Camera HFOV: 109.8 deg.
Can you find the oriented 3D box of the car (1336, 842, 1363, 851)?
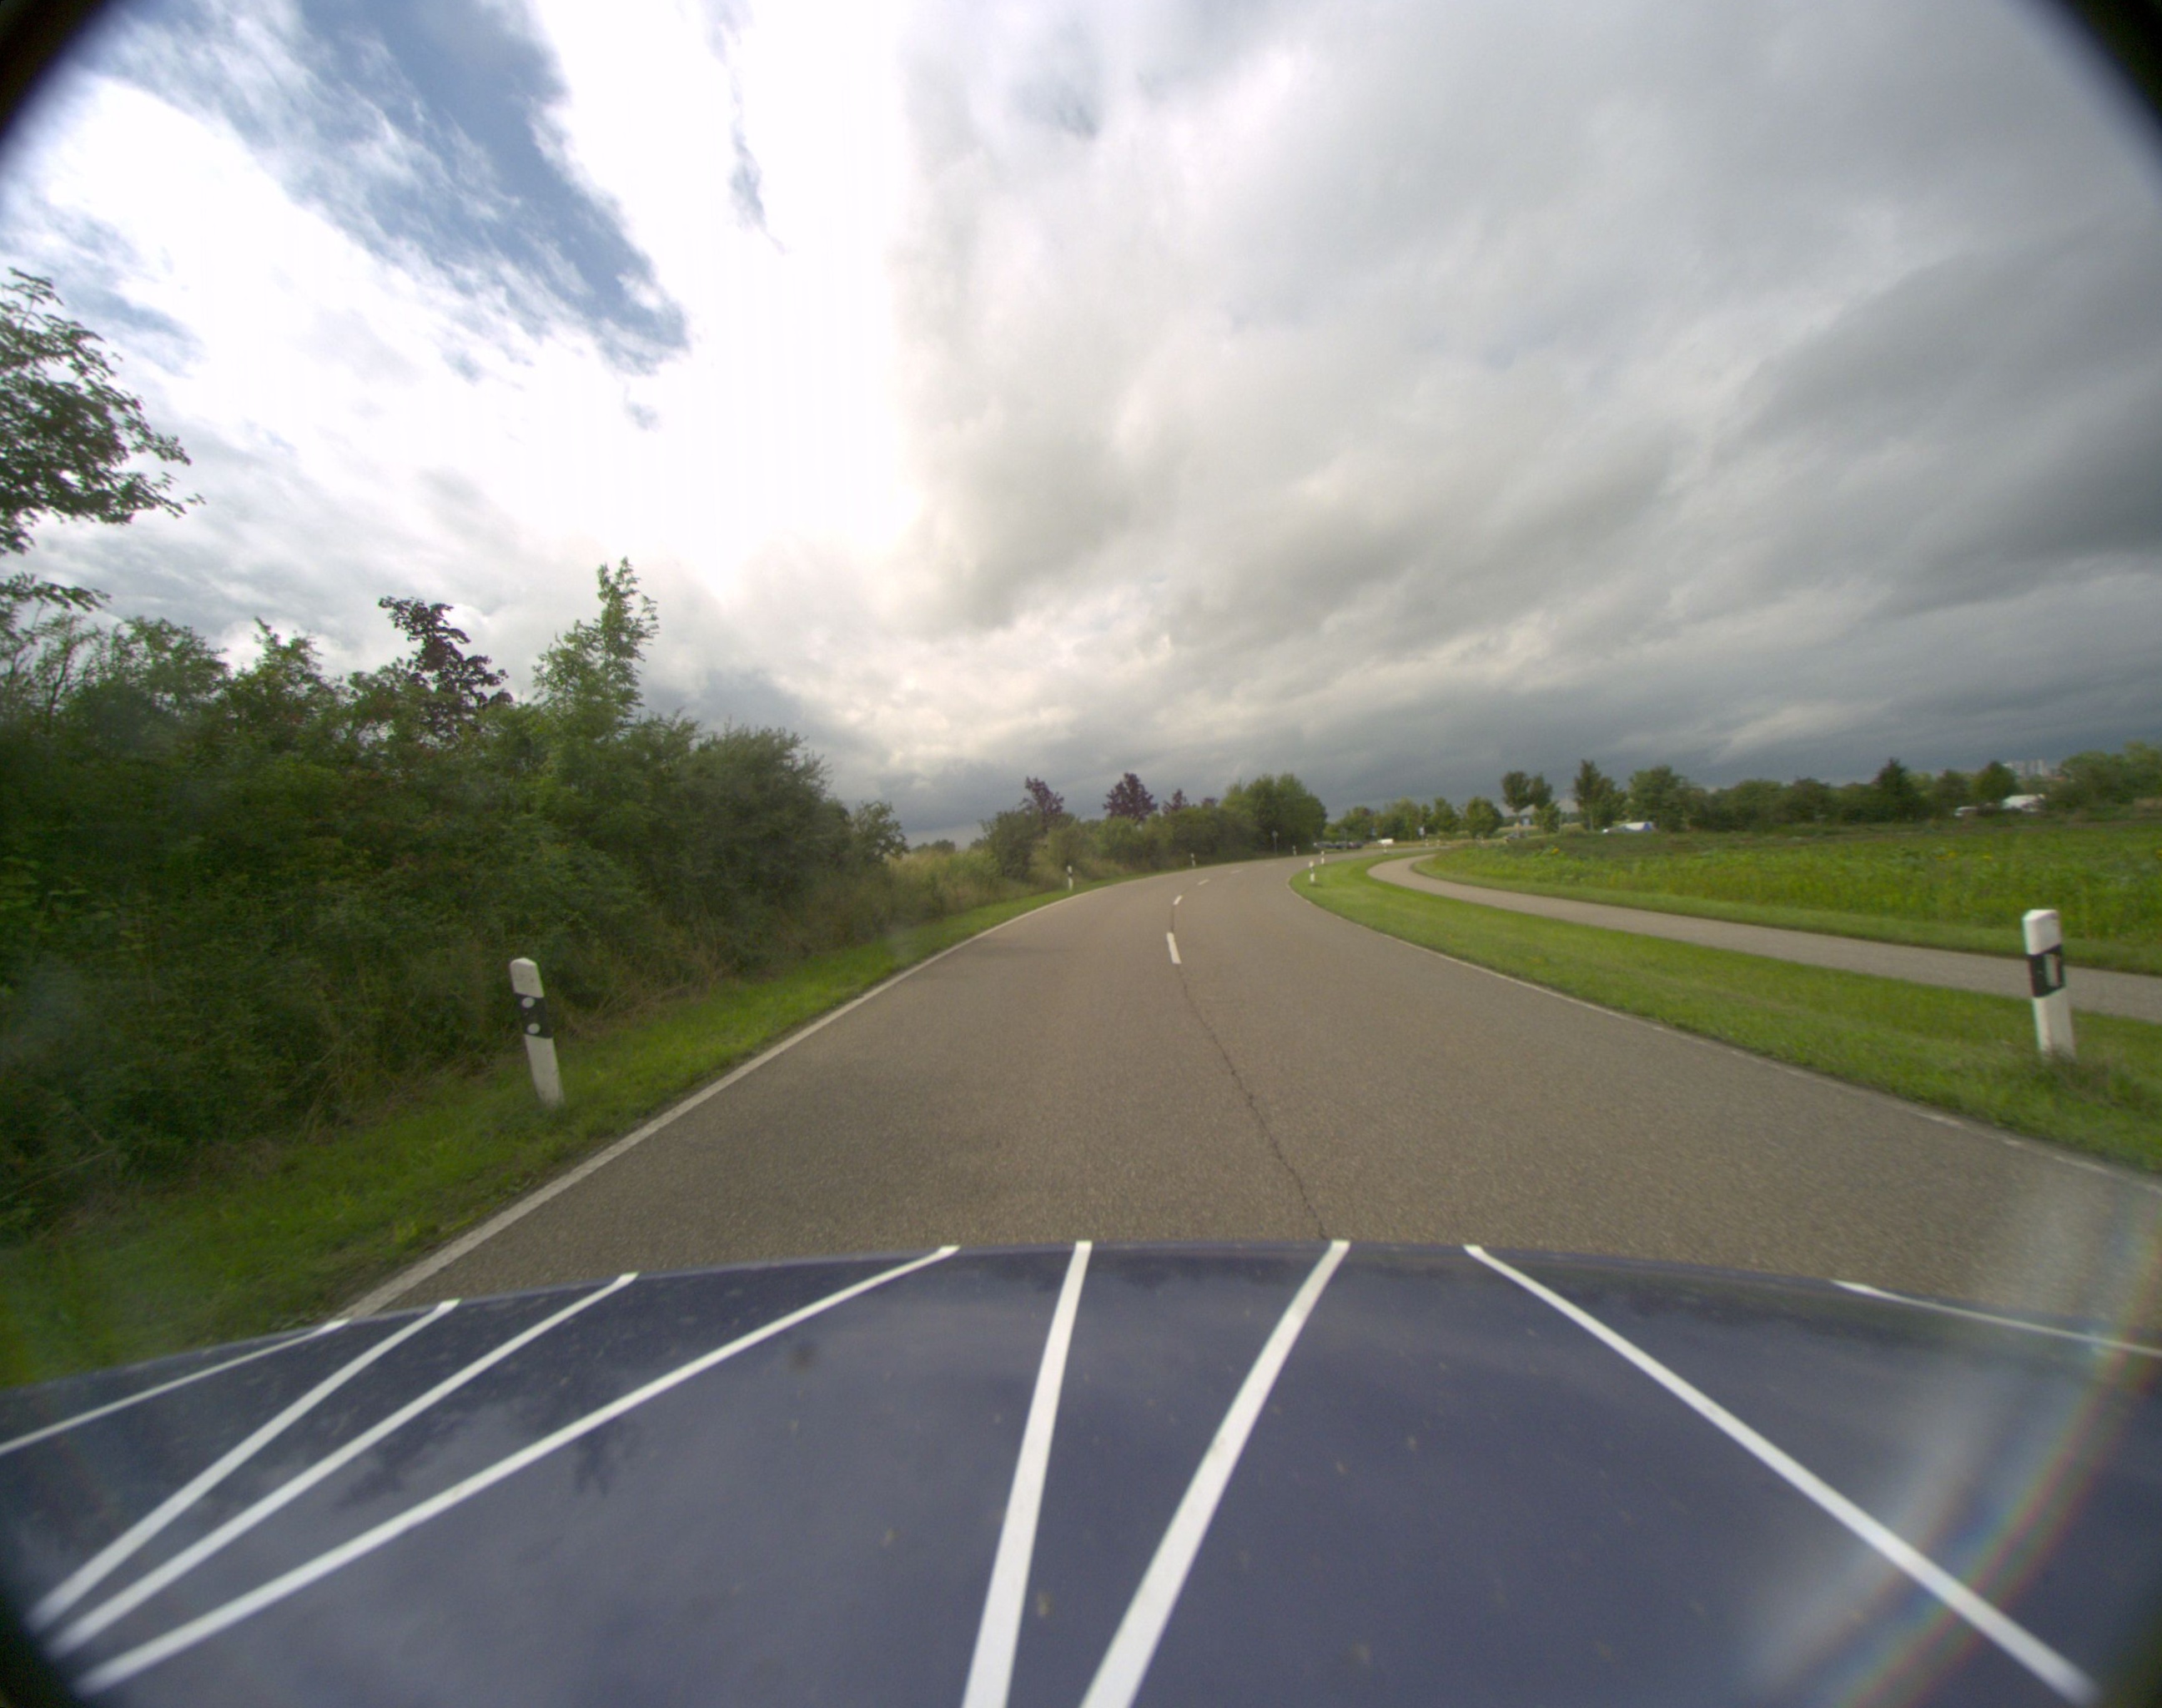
[{"bbox_3d":[48.328,-1.319,136.777,3.999,1.496,2.055,-3,0,41],"label":"car"}]

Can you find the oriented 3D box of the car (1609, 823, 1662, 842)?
[{"bbox_3d":[68.039,-2.644,93.308,2.060,2.002,4.897,-3,0,-40],"label":"car"}]

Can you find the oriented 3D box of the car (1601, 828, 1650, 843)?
[{"bbox_3d":[64.411,-2.160,89.907,2.004,1.585,4.251,-3,0,-39],"label":"car"}]

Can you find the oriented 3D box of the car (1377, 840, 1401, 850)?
[{"bbox_3d":[61.681,-1.860,152.367,3.989,1.849,2.004,-3,0,38],"label":"car"}]

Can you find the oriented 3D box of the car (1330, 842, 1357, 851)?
[{"bbox_3d":[46.271,-1.284,133.908,4.155,1.406,2.004,-3,0,34],"label":"car"}]
